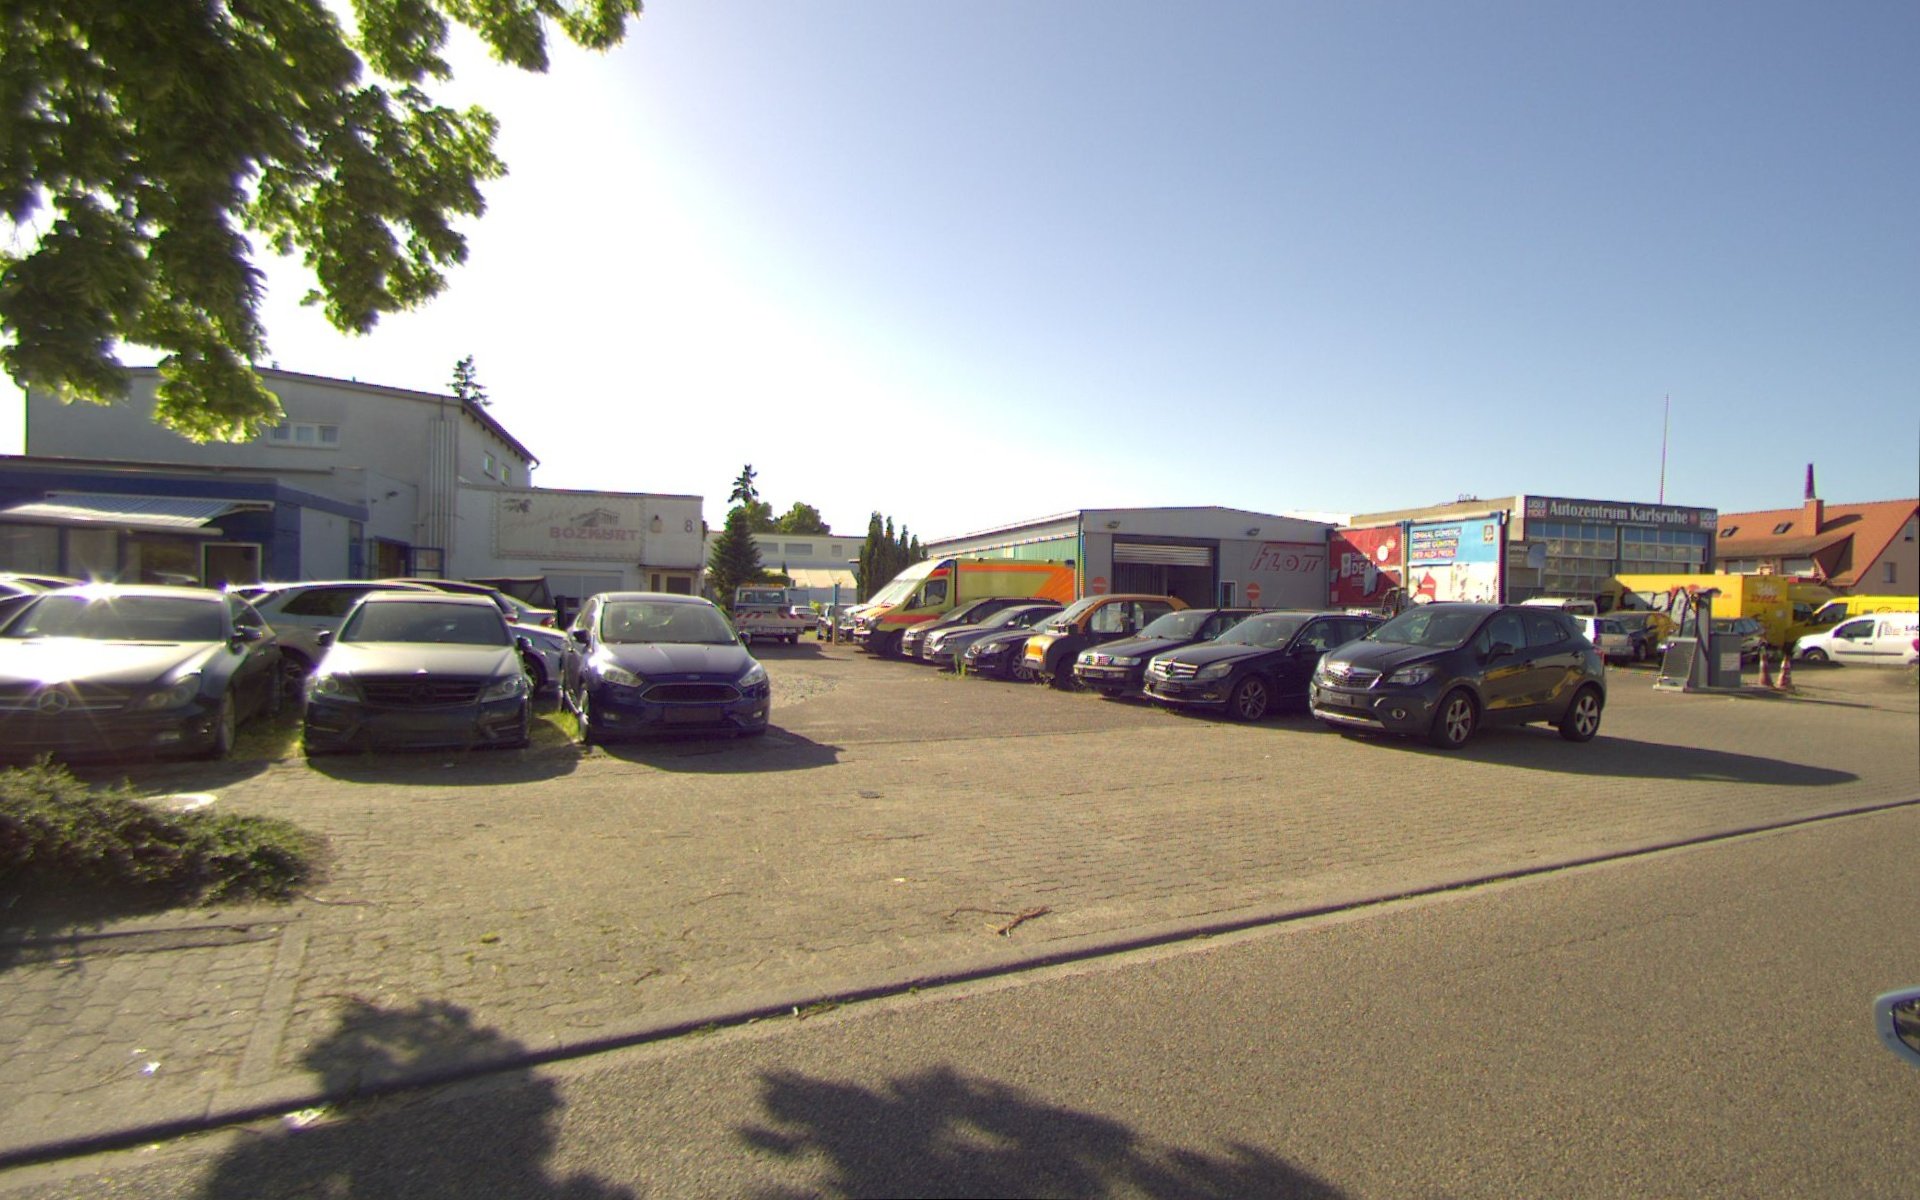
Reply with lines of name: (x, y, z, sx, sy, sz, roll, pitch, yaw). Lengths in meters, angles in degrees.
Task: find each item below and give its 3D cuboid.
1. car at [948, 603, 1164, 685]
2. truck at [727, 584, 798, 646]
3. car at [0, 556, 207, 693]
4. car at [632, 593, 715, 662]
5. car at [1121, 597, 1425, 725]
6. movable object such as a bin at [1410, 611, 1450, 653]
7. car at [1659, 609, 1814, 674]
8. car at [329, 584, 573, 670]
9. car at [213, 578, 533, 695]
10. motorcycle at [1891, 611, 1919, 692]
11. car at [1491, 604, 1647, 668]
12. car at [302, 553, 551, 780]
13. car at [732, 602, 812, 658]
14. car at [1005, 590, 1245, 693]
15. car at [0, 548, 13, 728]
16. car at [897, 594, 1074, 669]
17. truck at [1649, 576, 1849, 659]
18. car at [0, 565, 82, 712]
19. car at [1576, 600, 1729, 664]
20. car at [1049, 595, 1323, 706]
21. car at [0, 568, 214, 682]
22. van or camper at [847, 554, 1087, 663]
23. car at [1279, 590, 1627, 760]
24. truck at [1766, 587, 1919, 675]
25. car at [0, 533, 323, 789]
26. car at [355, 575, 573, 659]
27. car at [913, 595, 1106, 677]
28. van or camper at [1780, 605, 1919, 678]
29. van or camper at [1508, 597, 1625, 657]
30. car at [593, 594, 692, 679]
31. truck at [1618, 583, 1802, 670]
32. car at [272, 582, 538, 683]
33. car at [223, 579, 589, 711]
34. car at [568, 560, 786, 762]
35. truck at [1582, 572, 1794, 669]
car: (1.969, 0.843, 20.732, 4.098, 1.566, 1.775, 0, 0, -19)
truck: (-7.480, 0.526, 37.606, 1.995, 2.090, 5.856, 1, 0, -17)
car: (-12.539, 0.295, 13.170, 3.944, 1.716, 1.660, 1, 0, -24)
car: (-7.165, 0.637, 24.890, 1.645, 1.572, 3.980, 1, 0, -21)
car: (4.581, 0.816, 14.569, 4.227, 1.611, 1.852, 2, 0, -31)
movable object such as a bin: (17.027, 1.155, 36.394, 1.280, 1.471, 0.537, 1, 0, -19)
car: (23.100, 1.178, 29.885, 4.151, 1.583, 1.861, -3, 2, -22)
car: (-9.730, 0.526, 19.509, 3.934, 1.537, 1.664, 1, 0, -16)
car: (-8.588, 0.536, 15.119, 3.944, 1.585, 1.660, 1, 0, -24)
motorcycle: (24.219, 1.256, 24.717, 3.000, 1.898, 0.778, 1, 3, -26)
car: (18.934, 1.065, 31.451, 1.965, 1.840, 3.991, 1, 0, -11)
car: (-5.086, 0.537, 10.045, 1.741, 1.751, 4.239, 1, -1, -23)
car: (-5.362, 0.821, 28.349, 1.565, 1.441, 3.598, 1, 0, -21)
car: (3.061, 0.704, 18.753, 4.098, 1.772, 1.775, 0, 0, -19)
car: (-9.276, 0.347, 7.720, 1.743, 1.751, 4.233, 1, -1, -27)
car: (0.615, 0.735, 25.184, 4.098, 1.772, 1.775, 0, 0, -19)
truck: (30.766, 0.655, 39.503, 2.137, 3.012, 6.090, 1, 0, -16)
car: (-12.026, 0.355, 10.486, 3.944, 1.537, 1.660, 1, 0, -24)
car: (22.097, 1.024, 32.093, 3.936, 1.840, 1.992, 2, 1, -17)
car: (3.743, 0.843, 16.460, 4.228, 1.610, 1.852, 4, -1, -31)
car: (-13.547, 0.349, 14.843, 3.728, 1.585, 1.660, 1, 0, -24)
van or camper: (0.184, 0.280, 27.436, 6.172, 2.751, 2.162, 1, 0, -19)
car: (6.229, 0.843, 12.604, 4.227, 1.737, 1.852, 2, 3, -31)
truck: (29.801, 0.960, 32.190, 2.188, 2.602, 5.917, 1, 1, -18)
car: (-7.114, 0.429, 8.935, 1.741, 1.751, 4.239, 1, -1, -23)
car: (-10.600, 0.376, 21.763, 3.934, 1.676, 1.664, 1, 0, -16)
car: (1.122, 0.773, 23.102, 4.098, 1.772, 1.775, 0, 0, -19)
van or camper: (27.707, 1.204, 29.945, 2.219, 2.040, 4.533, 1, 0, -23)
van or camper: (21.780, 0.958, 36.074, 3.950, 2.040, 1.853, 1, 0, -28)
car: (-6.275, 0.671, 20.106, 1.642, 1.469, 3.986, 3, -1, -16)
truck: (28.161, 0.959, 37.986, 2.137, 3.012, 5.333, 1, 0, -16)
car: (-9.307, 0.547, 17.212, 3.795, 1.585, 1.660, 1, 0, -24)
car: (-7.036, 0.562, 13.193, 3.944, 1.537, 1.660, 1, 0, -24)
car: (-3.278, 0.552, 11.014, 1.741, 1.751, 4.239, 1, -1, -23)
truck: (25.679, 0.613, 35.775, 2.483, 3.161, 5.663, 1, 1, -18)
